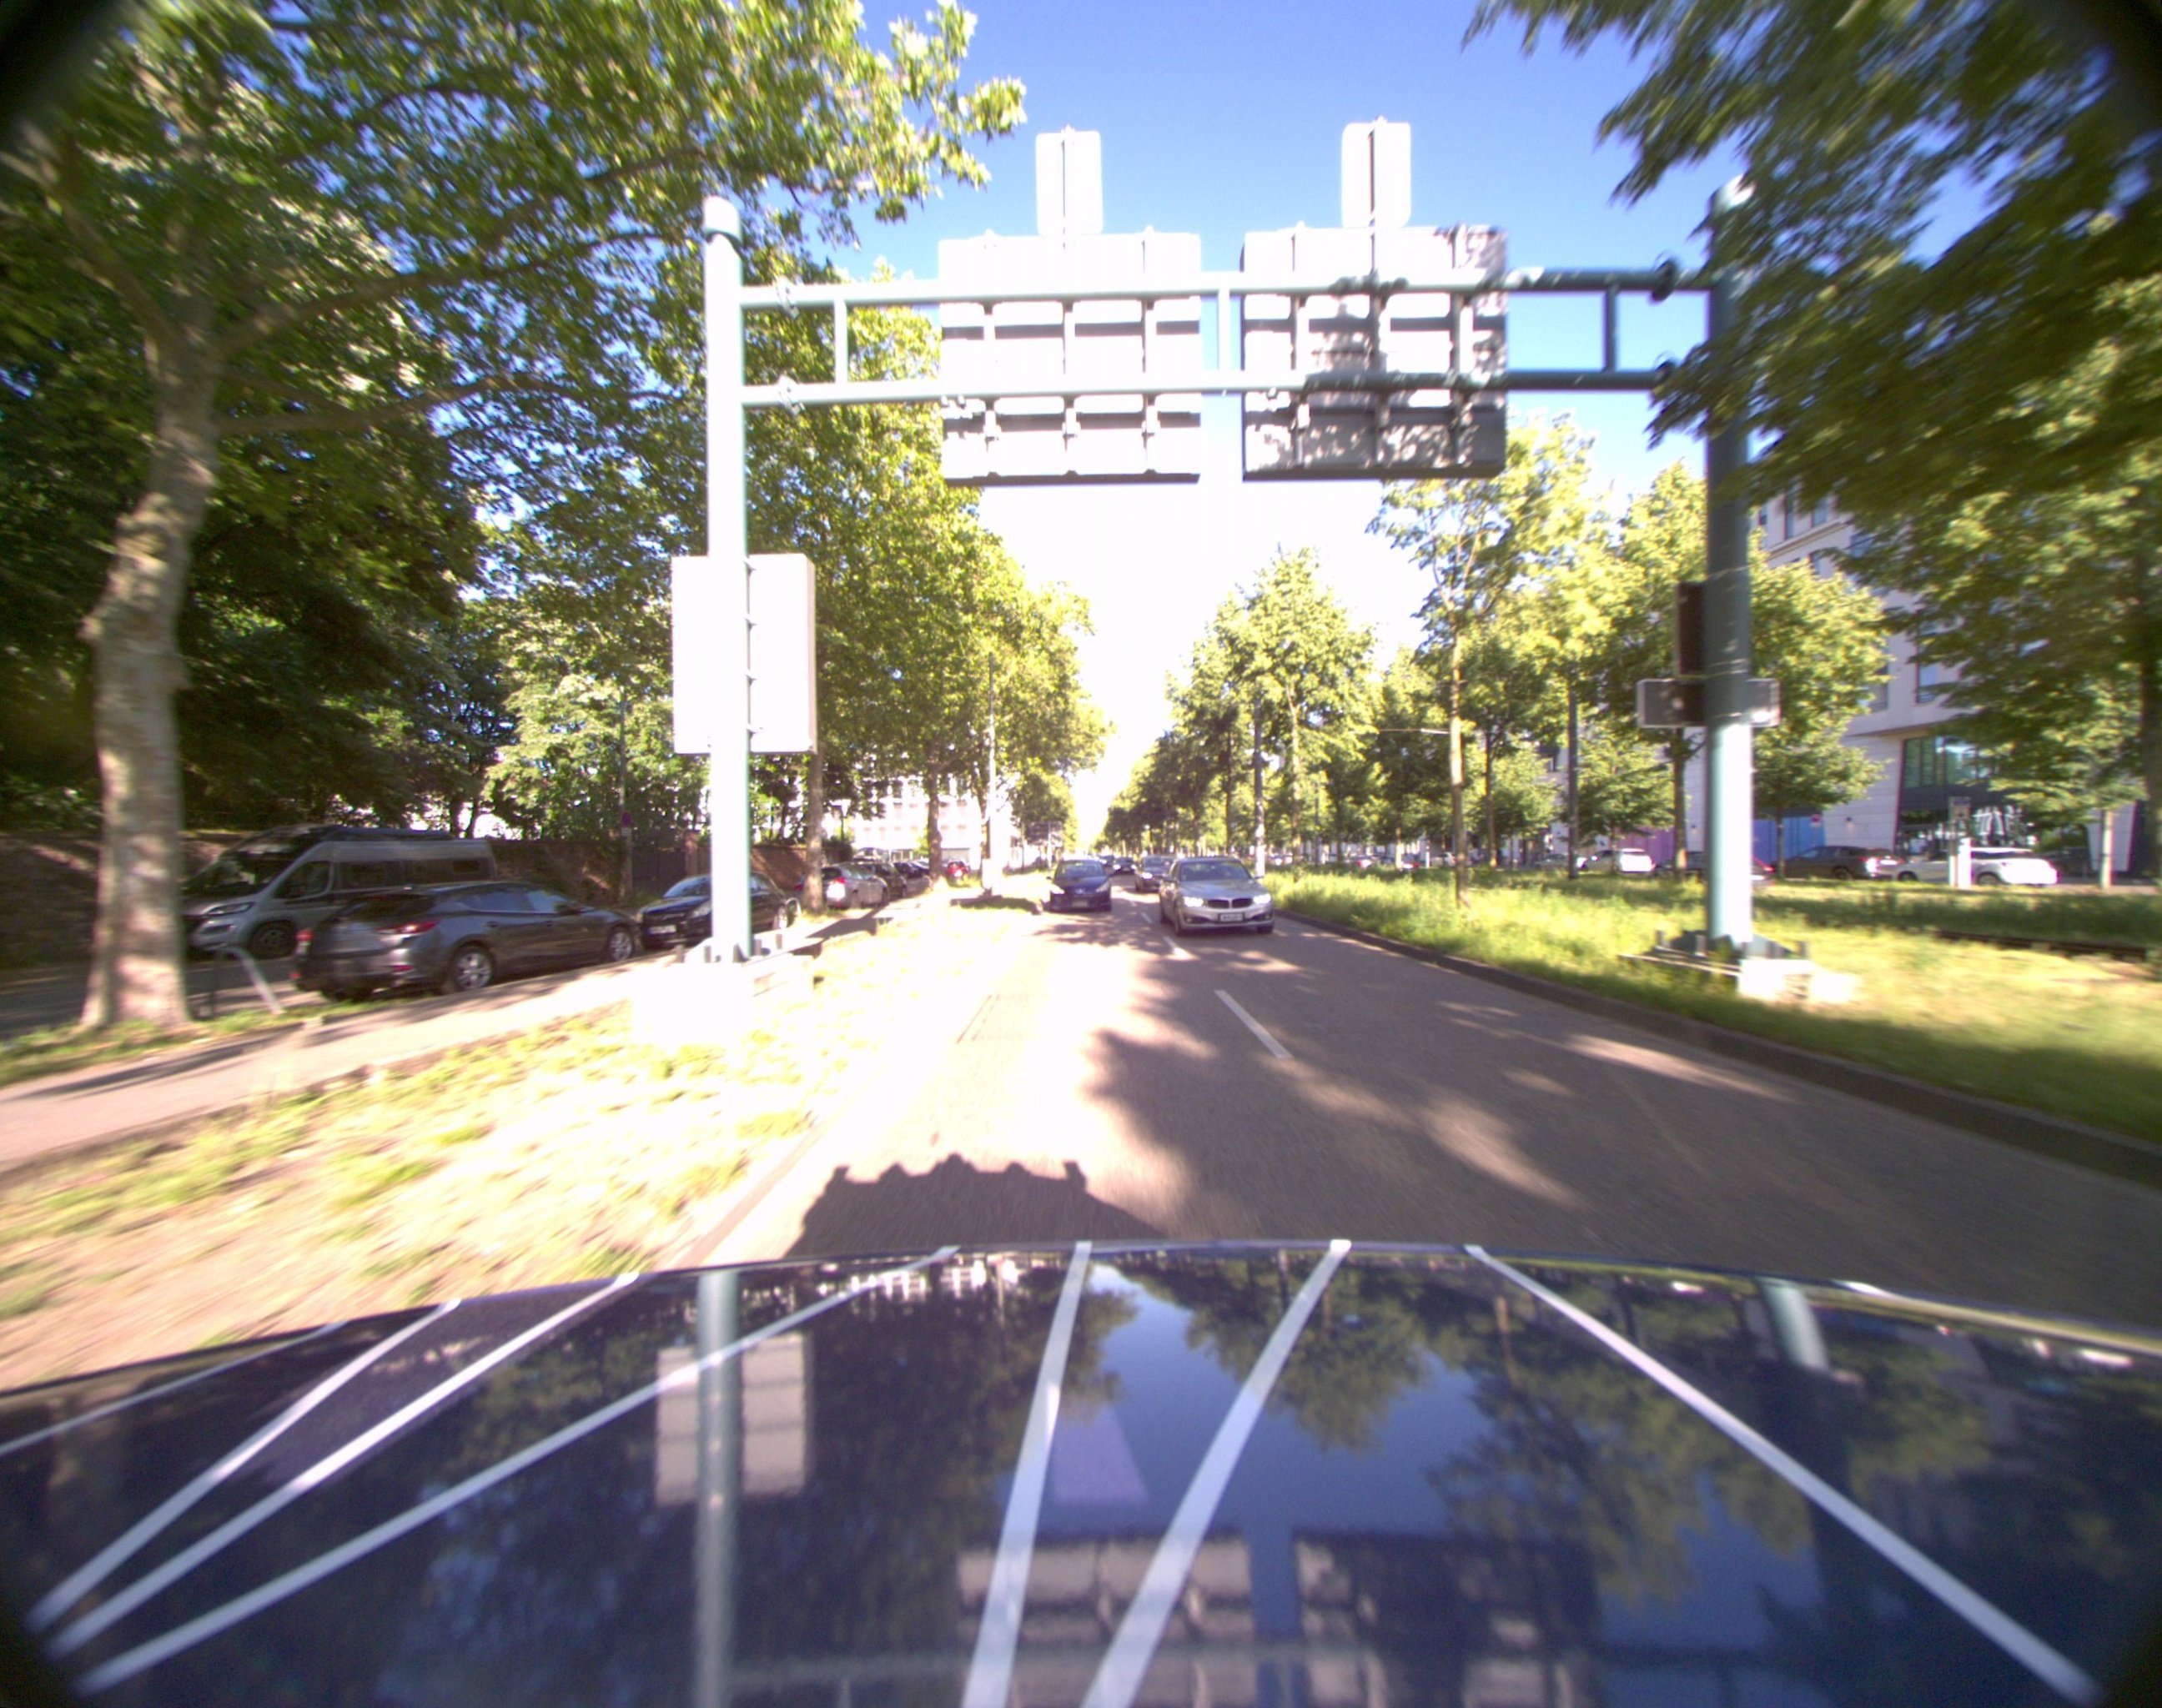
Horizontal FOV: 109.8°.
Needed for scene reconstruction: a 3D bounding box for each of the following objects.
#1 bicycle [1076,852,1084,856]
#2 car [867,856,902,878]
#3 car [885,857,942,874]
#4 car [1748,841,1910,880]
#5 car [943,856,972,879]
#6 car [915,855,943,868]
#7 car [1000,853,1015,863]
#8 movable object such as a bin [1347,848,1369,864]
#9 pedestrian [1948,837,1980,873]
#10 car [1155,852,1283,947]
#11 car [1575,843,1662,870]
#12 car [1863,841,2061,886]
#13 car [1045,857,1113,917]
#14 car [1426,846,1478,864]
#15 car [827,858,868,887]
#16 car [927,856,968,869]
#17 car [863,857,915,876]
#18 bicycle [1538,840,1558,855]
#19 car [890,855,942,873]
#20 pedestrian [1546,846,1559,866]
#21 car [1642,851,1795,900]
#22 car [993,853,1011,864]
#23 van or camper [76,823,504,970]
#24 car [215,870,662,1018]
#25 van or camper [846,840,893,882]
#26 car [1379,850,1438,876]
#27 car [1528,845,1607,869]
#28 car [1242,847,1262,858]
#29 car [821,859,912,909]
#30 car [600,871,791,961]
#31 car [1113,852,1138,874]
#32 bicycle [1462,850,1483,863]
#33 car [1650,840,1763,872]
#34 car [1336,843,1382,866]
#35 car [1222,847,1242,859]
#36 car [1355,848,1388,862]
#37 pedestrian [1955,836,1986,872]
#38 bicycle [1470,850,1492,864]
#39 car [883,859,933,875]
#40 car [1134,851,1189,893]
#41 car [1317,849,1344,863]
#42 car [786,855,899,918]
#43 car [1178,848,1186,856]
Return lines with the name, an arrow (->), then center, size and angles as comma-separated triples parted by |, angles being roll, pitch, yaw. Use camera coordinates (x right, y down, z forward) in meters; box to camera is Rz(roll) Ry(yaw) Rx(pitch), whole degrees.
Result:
bicycle -> -0.278, 0.046, 185.183 | 1.927, 0.899, 0.647 | -1, 1, 4
car -> -15.099, 0.979, 58.478 | 2.000, 1.565, 3.997 | 2, 1, -6
car -> -15.339, 1.050, 69.592 | 4.731, 1.398, 2.000 | 2, 1, 1
car -> 31.866, 0.234, 32.645 | 1.999, 1.433, 4.935 | -3, 1, -2
car -> -9.393, 0.991, 57.585 | 2.000, 1.630, 3.996 | -3, 1, -11
car -> -19.809, 0.973, 99.194 | 1.748, 1.527, 3.886 | -2, 1, 19
car -> -11.808, 0.709, 122.875 | 1.869, 1.477, 4.272 | 2, 1, 1
movable object such as a bin -> 32.289, 0.217, 88.627 | 1.975, 1.784, 1.555 | -3, 1, -1
pedestrian -> 41.377, 0.051, 35.625 | 0.637, 1.641, 0.720 | -3, 1, -1
car -> 2.647, 0.802, 15.576 | 1.886, 1.569, 4.277 | -3, 1, 1
car -> 31.785, 0.124, 45.075 | 1.998, 1.433, 4.455 | -3, 1, 1
car -> 31.984, 0.300, 27.831 | 1.999, 1.433, 4.454 | -3, 1, -2
car -> 0.011, 0.904, 22.569 | 1.766, 1.462, 4.000 | -3, 1, 2
car -> 32.489, 0.089, 66.633 | 1.999, 1.433, 4.924 | -3, 1, -2
car -> -14.571, 1.135, 47.605 | 1.846, 1.608, 3.996 | 2, 0, -10
car -> -14.726, 0.931, 83.928 | 4.089, 1.459, 1.715 | 0, 1, 2
car -> -16.331, 1.082, 64.858 | 3.998, 1.496, 1.765 | -1, 1, -2
bicycle -> 39.387, -0.547, 64.093 | 0.599, 1.273, 1.608 | -3, 1, -1
car -> -15.690, 0.944, 72.466 | 4.390, 1.403, 2.000 | 3, 1, 3
pedestrian -> 40.814, 0.170, 65.804 | 0.637, 1.641, 0.720 | -3, 1, -1
car -> 23.089, 0.716, 27.778 | 1.998, 1.519, 4.319 | -3, 1, 1
car -> -12.198, 0.712, 117.776 | 1.998, 1.477, 4.403 | 2, 1, 3
van or camper -> -17.136, 0.776, 17.314 | 2.561, 2.668, 6.567 | 1, 0, 6
car -> -8.331, 1.037, 10.644 | 1.998, 1.373, 4.678 | -3, 0, 4
van or camper -> -14.706, 0.448, 53.116 | 1.999, 2.715, 4.962 | 2, 1, -2
car -> 20.491, 0.521, 47.750 | 1.998, 1.433, 4.456 | -3, 1, 3
car -> 32.005, 0.174, 50.156 | 1.999, 1.433, 4.778 | -3, 1, -2
car -> 26.134, -0.245, 116.230 | 1.998, 1.433, 5.110 | -3, 1, 2
car -> -8.344, 1.120, 30.003 | 1.797, 1.625, 4.628 | -3, 1, 6
car -> -7.786, 1.189, 15.826 | 1.797, 1.429, 3.884 | -3, 1, 3
car -> 3.493, 0.662, 60.343 | 1.782, 1.571, 3.783 | -3, 1, 1
bicycle -> 39.579, 0.219, 76.899 | 0.949, 1.273, 2.772 | -2, 1, 8
car -> 31.944, 0.069, 39.007 | 1.999, 1.433, 4.454 | -3, 1, -2
car -> 23.324, 0.048, 63.988 | 1.998, 1.830, 5.250 | -1, 0, 1
car -> 23.103, -0.207, 116.641 | 1.998, 1.676, 5.110 | -3, 1, 1
car -> 32.449, 0.085, 85.025 | 1.999, 1.433, 4.018 | -3, 1, -2
pedestrian -> 42.194, 0.009, 36.056 | 0.637, 1.641, 0.719 | -3, 1, -6
bicycle -> 38.858, 0.252, 73.870 | 0.949, 1.273, 2.772 | -2, 1, 8
car -> -15.329, 1.133, 67.246 | 3.996, 1.384, 1.620 | 1, 1, 4
car -> 3.212, 0.679, 30.970 | 1.950, 1.514, 4.000 | -3, 1, 3
car -> 32.941, 0.249, 100.492 | 1.999, 1.719, 4.337 | -3, 1, -2
car -> -7.075, 0.891, 23.009 | 1.797, 1.551, 4.021 | -4, 1, 4
car -> 26.903, -0.649, 202.501 | 1.998, 2.002, 4.000 | -3, 1, 4
